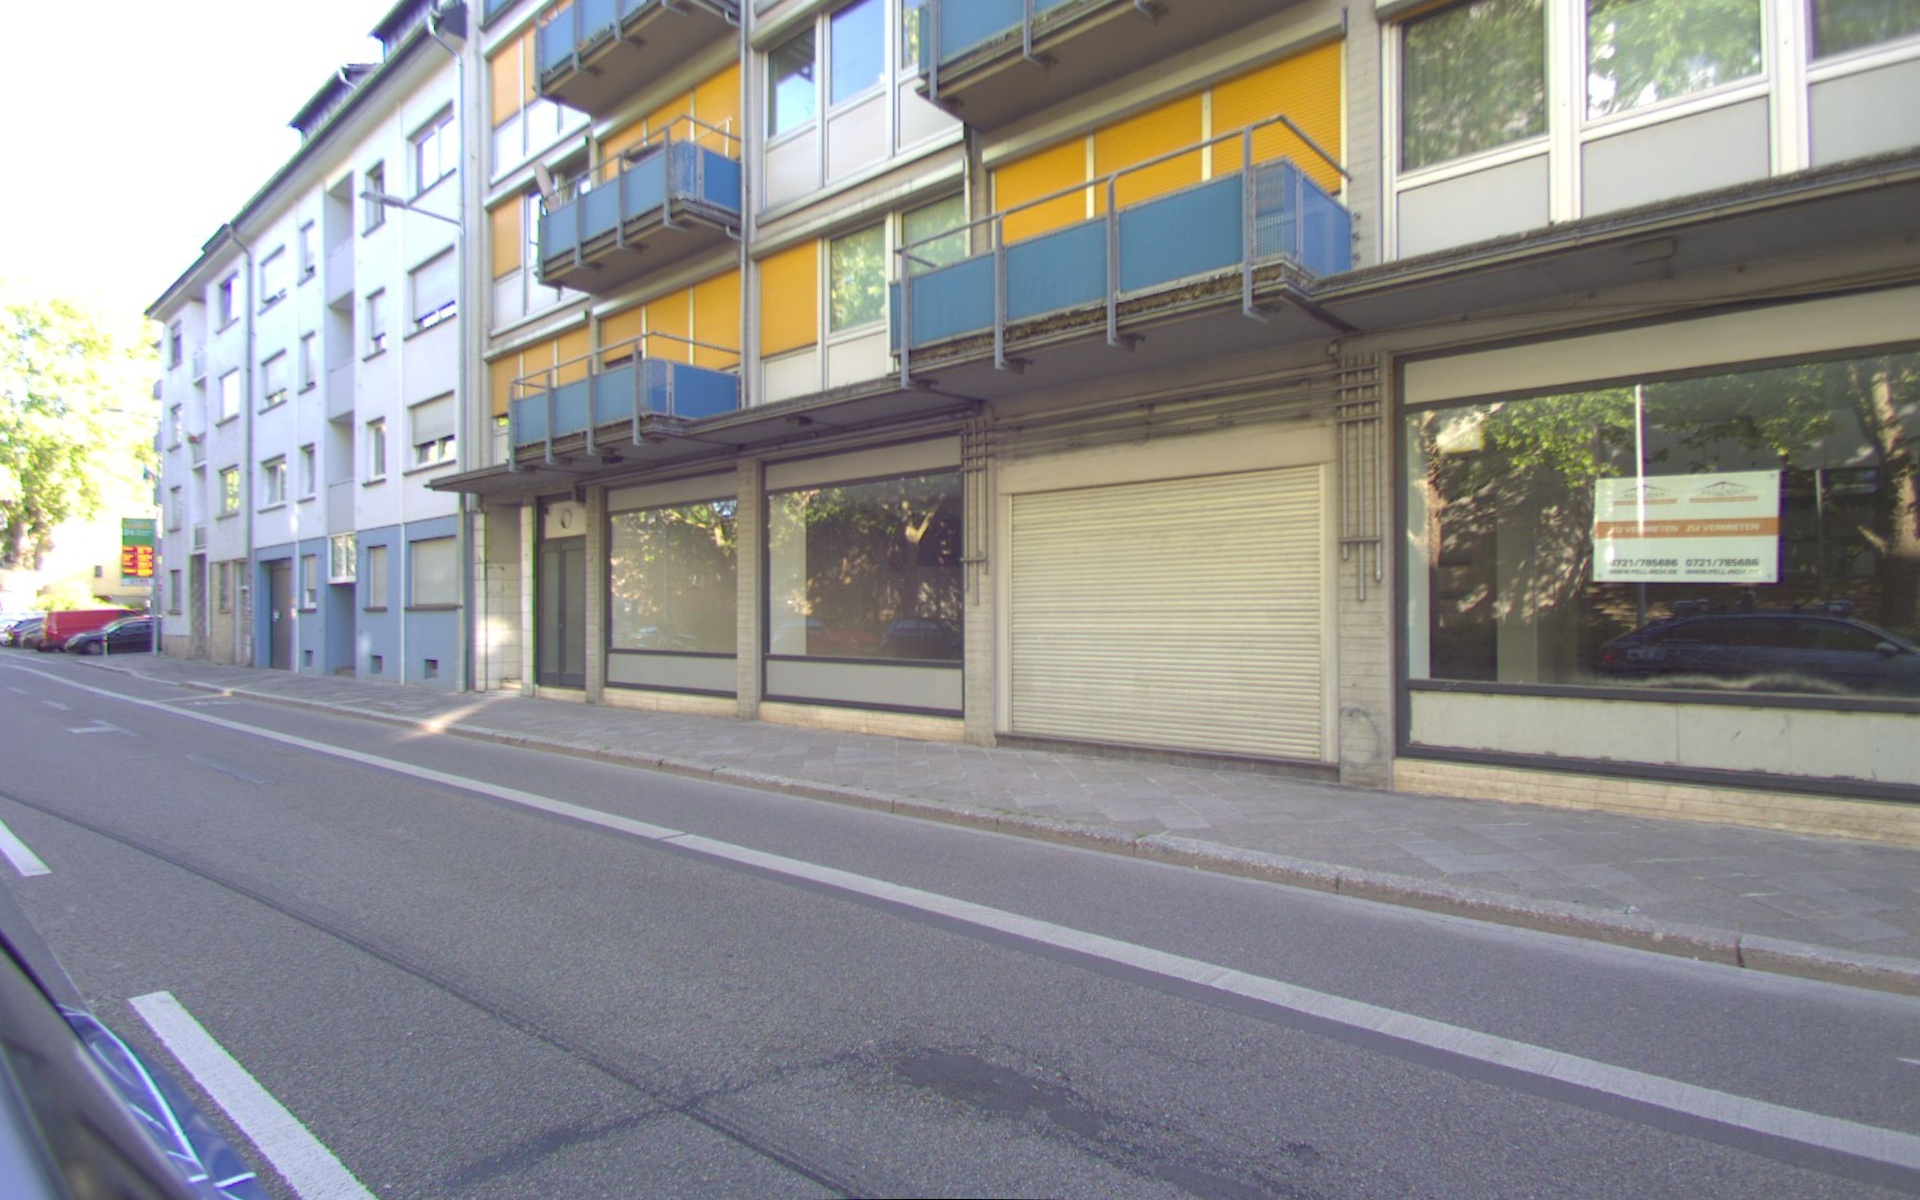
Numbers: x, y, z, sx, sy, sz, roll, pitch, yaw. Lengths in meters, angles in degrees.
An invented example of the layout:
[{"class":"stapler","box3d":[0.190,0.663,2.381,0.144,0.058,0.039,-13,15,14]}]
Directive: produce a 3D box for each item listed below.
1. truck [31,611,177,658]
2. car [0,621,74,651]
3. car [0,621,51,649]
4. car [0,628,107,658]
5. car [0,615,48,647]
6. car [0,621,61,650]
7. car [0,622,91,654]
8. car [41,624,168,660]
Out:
[{"class":"truck","box3d":[-40.352,1.571,47.830,1.998,2.036,5.024,-1,0,40]},{"class":"car","box3d":[-52.885,2.024,57.466,1.656,1.599,3.615,-1,0,35]},{"class":"car","box3d":[-56.890,2.109,60.387,1.740,1.600,3.685,-1,0,35]},{"class":"car","box3d":[-43.475,2.025,48.299,1.904,1.282,3.983,-1,0,39]},{"class":"car","box3d":[-59.739,1.955,63.808,1.693,1.953,3.224,-1,0,43]},{"class":"car","box3d":[-55.070,2.069,58.995,1.715,1.594,3.660,-1,0,35]},{"class":"car","box3d":[-50.823,2.062,55.962,1.699,1.640,3.952,-1,0,35]},{"class":"car","box3d":[-36.914,1.778,43.745,1.780,1.404,3.947,-1,0,39]}]
